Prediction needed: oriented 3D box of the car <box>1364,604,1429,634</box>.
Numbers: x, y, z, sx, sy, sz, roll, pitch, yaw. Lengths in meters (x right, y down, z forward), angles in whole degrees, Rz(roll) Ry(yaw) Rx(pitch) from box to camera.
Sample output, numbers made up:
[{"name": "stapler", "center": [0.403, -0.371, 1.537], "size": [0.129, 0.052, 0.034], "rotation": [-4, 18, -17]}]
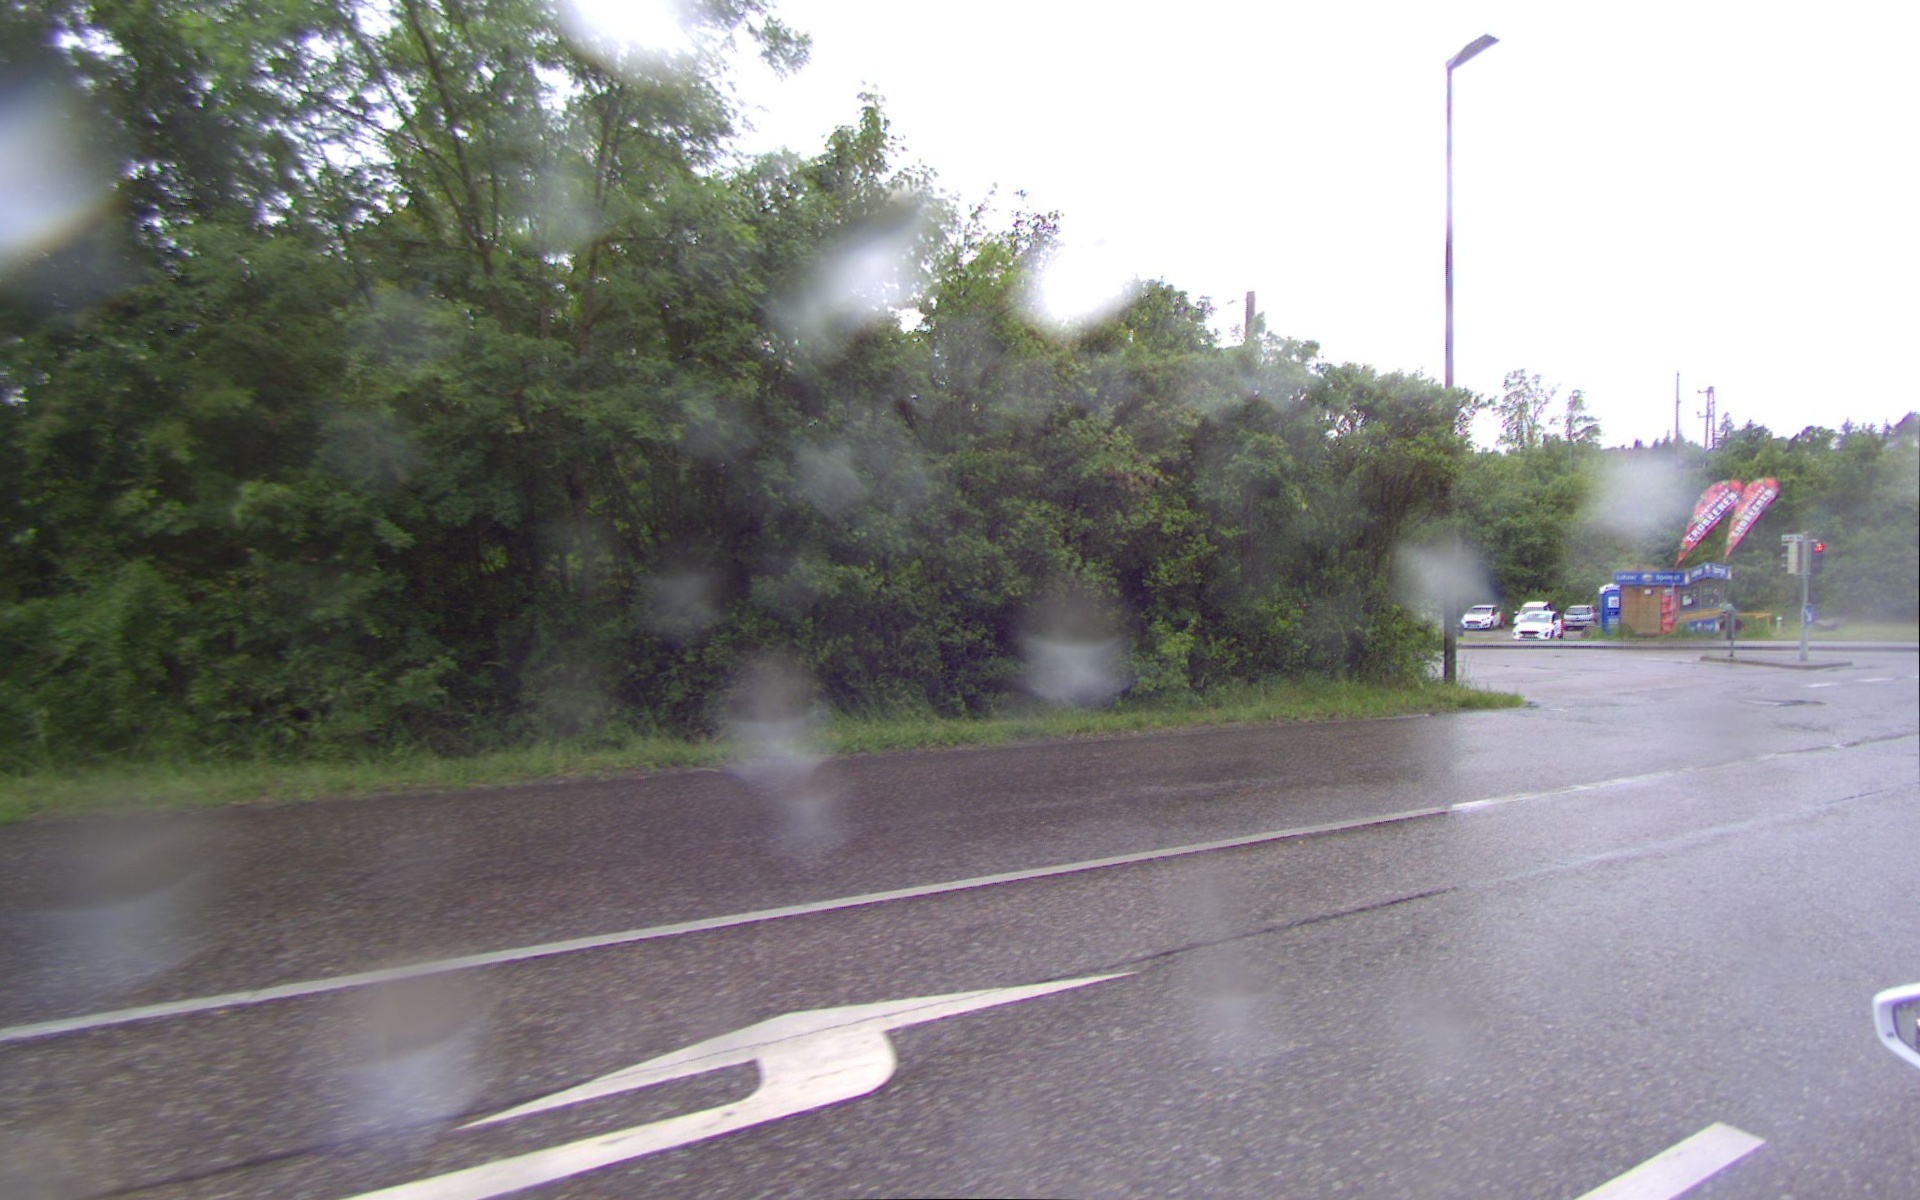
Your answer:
[{"name": "car", "center": [24.152, 1.068, 55.579], "size": [3.880, 1.606, 1.918], "rotation": [2, 0, -43]}]

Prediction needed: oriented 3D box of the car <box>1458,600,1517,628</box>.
[{"name": "car", "center": [32.118, 0.870, 61.132], "size": [3.972, 1.606, 1.974], "rotation": [2, 0, -43]}]

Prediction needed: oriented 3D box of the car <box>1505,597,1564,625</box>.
[{"name": "car", "center": [34.016, 0.654, 59.480], "size": [3.972, 1.606, 1.975], "rotation": [0, -1, -43]}]

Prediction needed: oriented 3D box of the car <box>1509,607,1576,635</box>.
[{"name": "car", "center": [29.496, 1.074, 50.776], "size": [4.868, 1.358, 1.636], "rotation": [2, 0, -43]}]

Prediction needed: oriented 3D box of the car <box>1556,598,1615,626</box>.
[{"name": "car", "center": [36.314, 0.699, 58.303], "size": [3.972, 1.606, 1.975], "rotation": [0, -1, -43]}]
